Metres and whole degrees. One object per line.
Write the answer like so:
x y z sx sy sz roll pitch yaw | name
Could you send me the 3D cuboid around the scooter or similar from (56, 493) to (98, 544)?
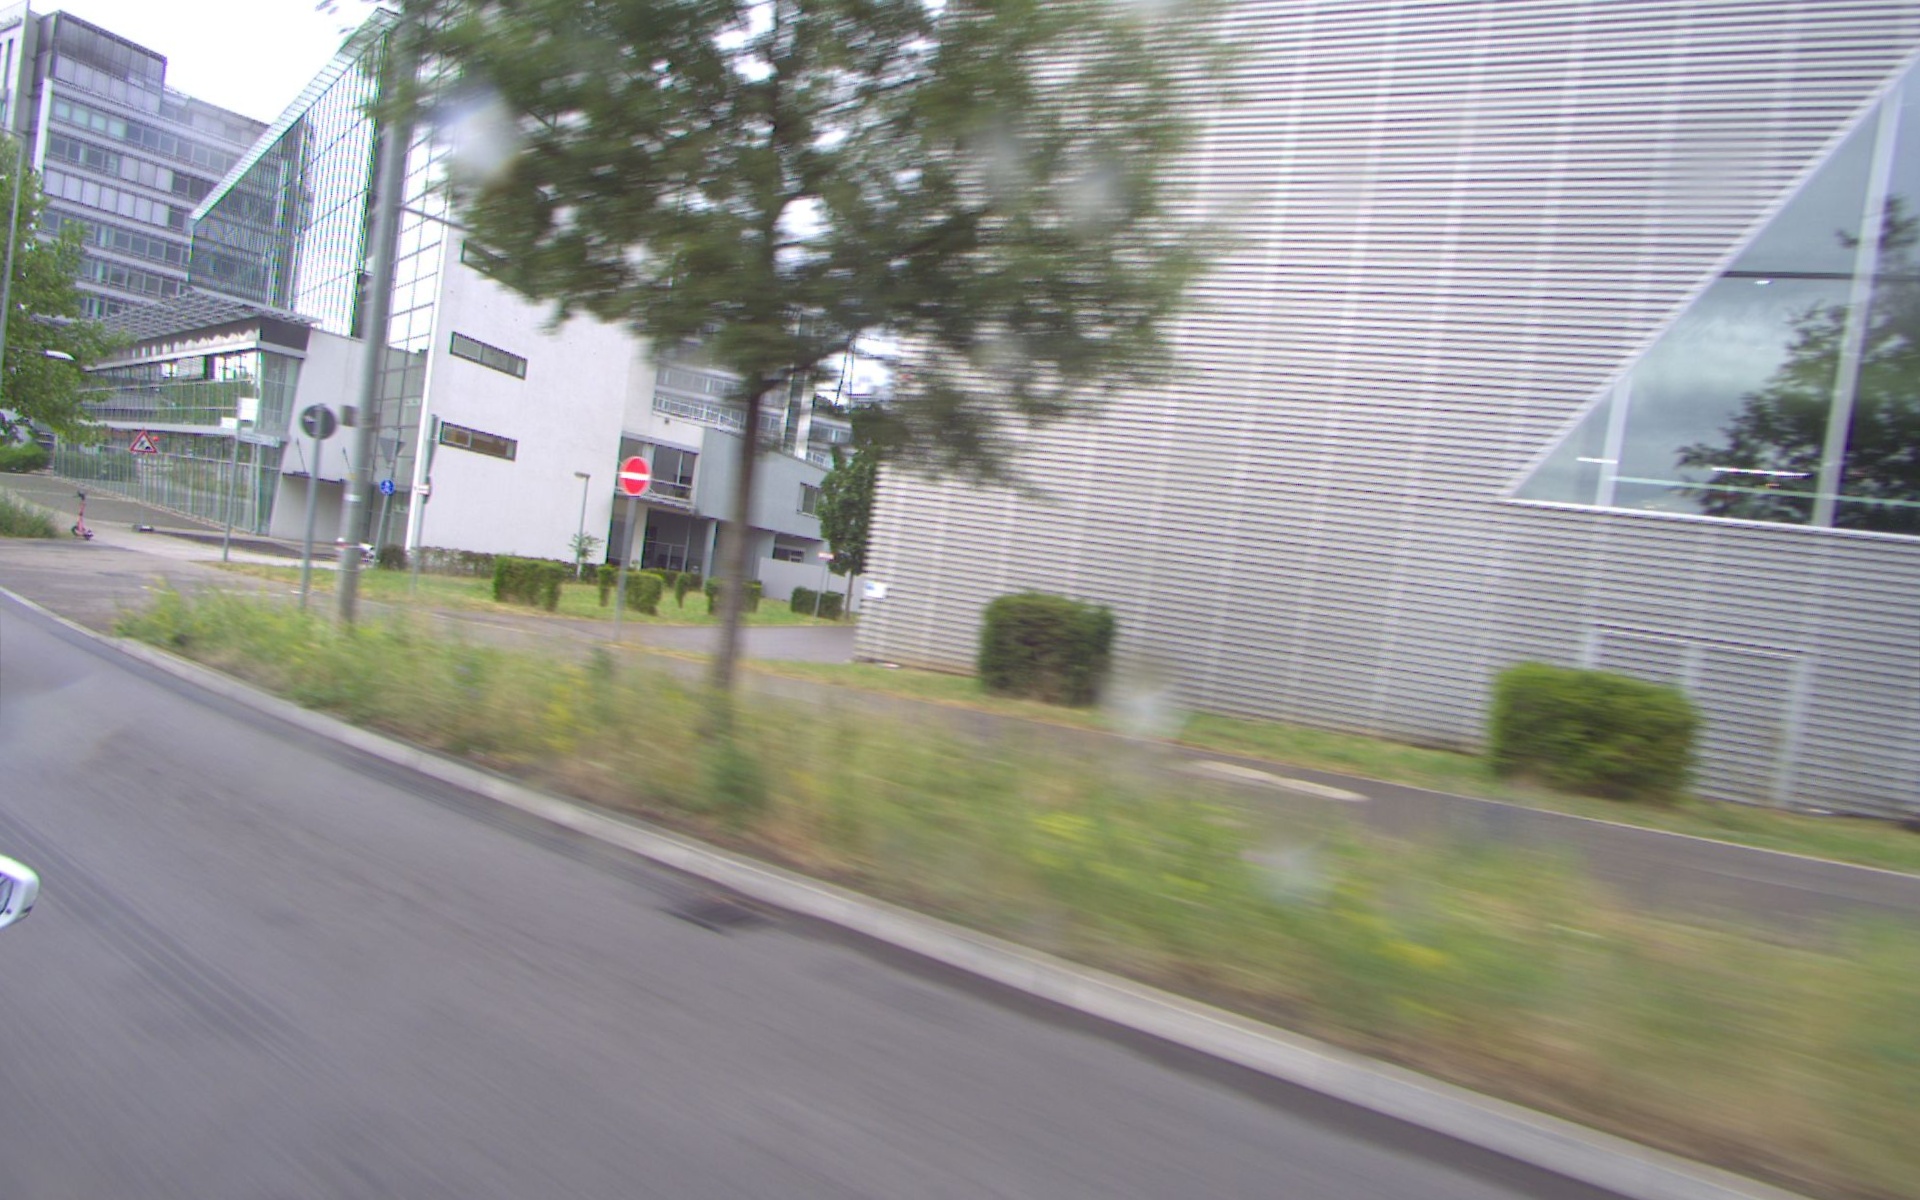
-24.298 -2.250 27.686 1.315 1.280 0.457 7 3 32 | scooter or similar
